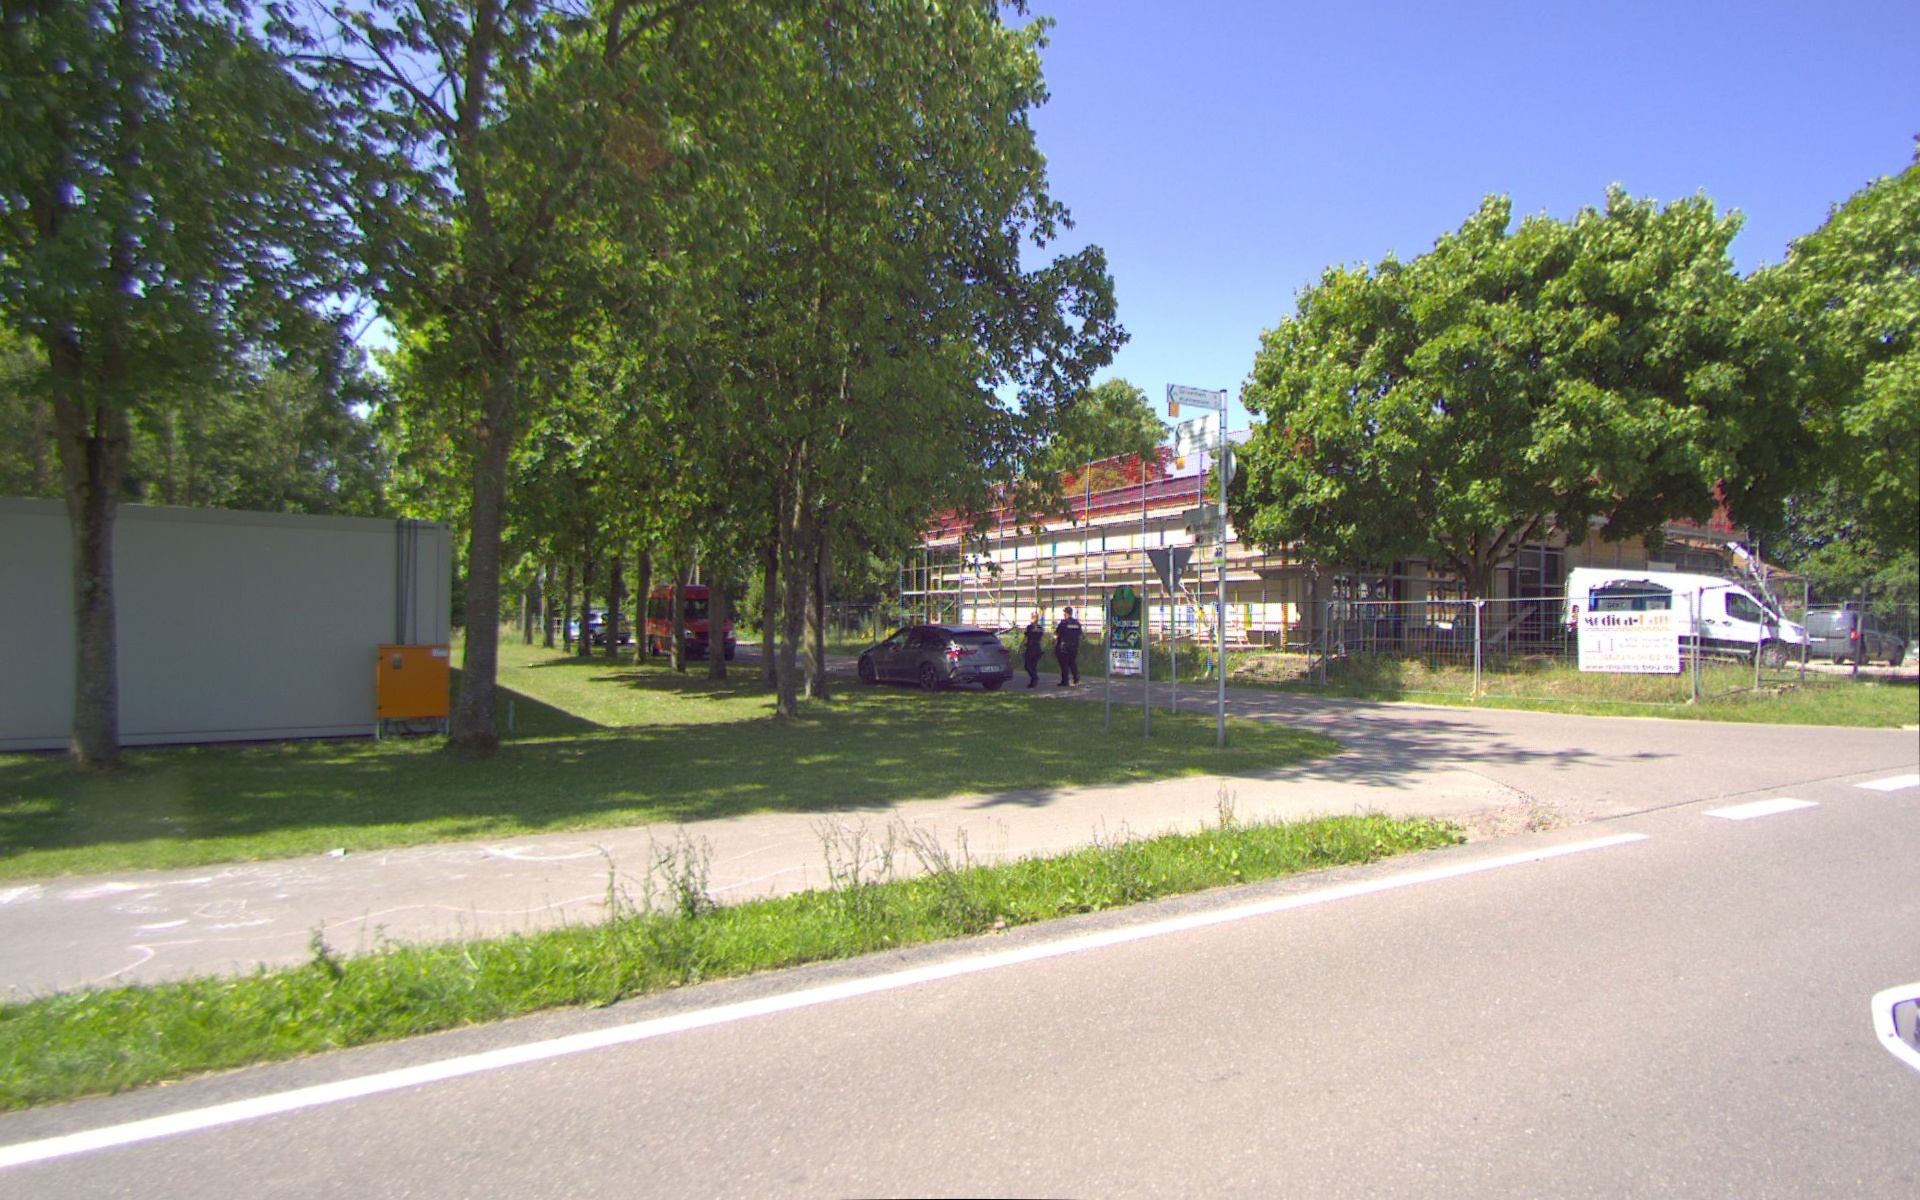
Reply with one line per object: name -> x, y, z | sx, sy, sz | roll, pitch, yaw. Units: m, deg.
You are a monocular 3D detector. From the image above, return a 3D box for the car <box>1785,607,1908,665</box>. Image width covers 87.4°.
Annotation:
car -> 30.204, 1.193, 34.202 | 4.279, 1.862, 1.960 | 1, -1, -31

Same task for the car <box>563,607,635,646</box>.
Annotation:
car -> -17.398, 1.272, 48.350 | 3.694, 1.773, 1.658 | -1, -2, 41

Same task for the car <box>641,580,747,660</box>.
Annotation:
car -> -9.650, 0.750, 36.057 | 2.097, 2.611, 6.029 | 1, -2, -31

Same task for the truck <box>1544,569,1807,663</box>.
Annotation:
truck -> 20.298, 0.417, 28.862 | 5.818, 2.516, 1.999 | 1, -1, 23

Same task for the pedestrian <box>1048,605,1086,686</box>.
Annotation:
pedestrian -> 2.364, 1.004, 22.258 | 0.582, 1.774, 0.598 | 1, -2, -40

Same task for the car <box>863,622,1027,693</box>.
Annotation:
car -> -0.411, 1.215, 22.171 | 1.743, 1.417, 3.772 | 1, -2, -37

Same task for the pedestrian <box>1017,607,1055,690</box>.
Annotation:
pedestrian -> 1.664, 1.044, 21.944 | 0.582, 1.774, 0.598 | 1, -2, -40
